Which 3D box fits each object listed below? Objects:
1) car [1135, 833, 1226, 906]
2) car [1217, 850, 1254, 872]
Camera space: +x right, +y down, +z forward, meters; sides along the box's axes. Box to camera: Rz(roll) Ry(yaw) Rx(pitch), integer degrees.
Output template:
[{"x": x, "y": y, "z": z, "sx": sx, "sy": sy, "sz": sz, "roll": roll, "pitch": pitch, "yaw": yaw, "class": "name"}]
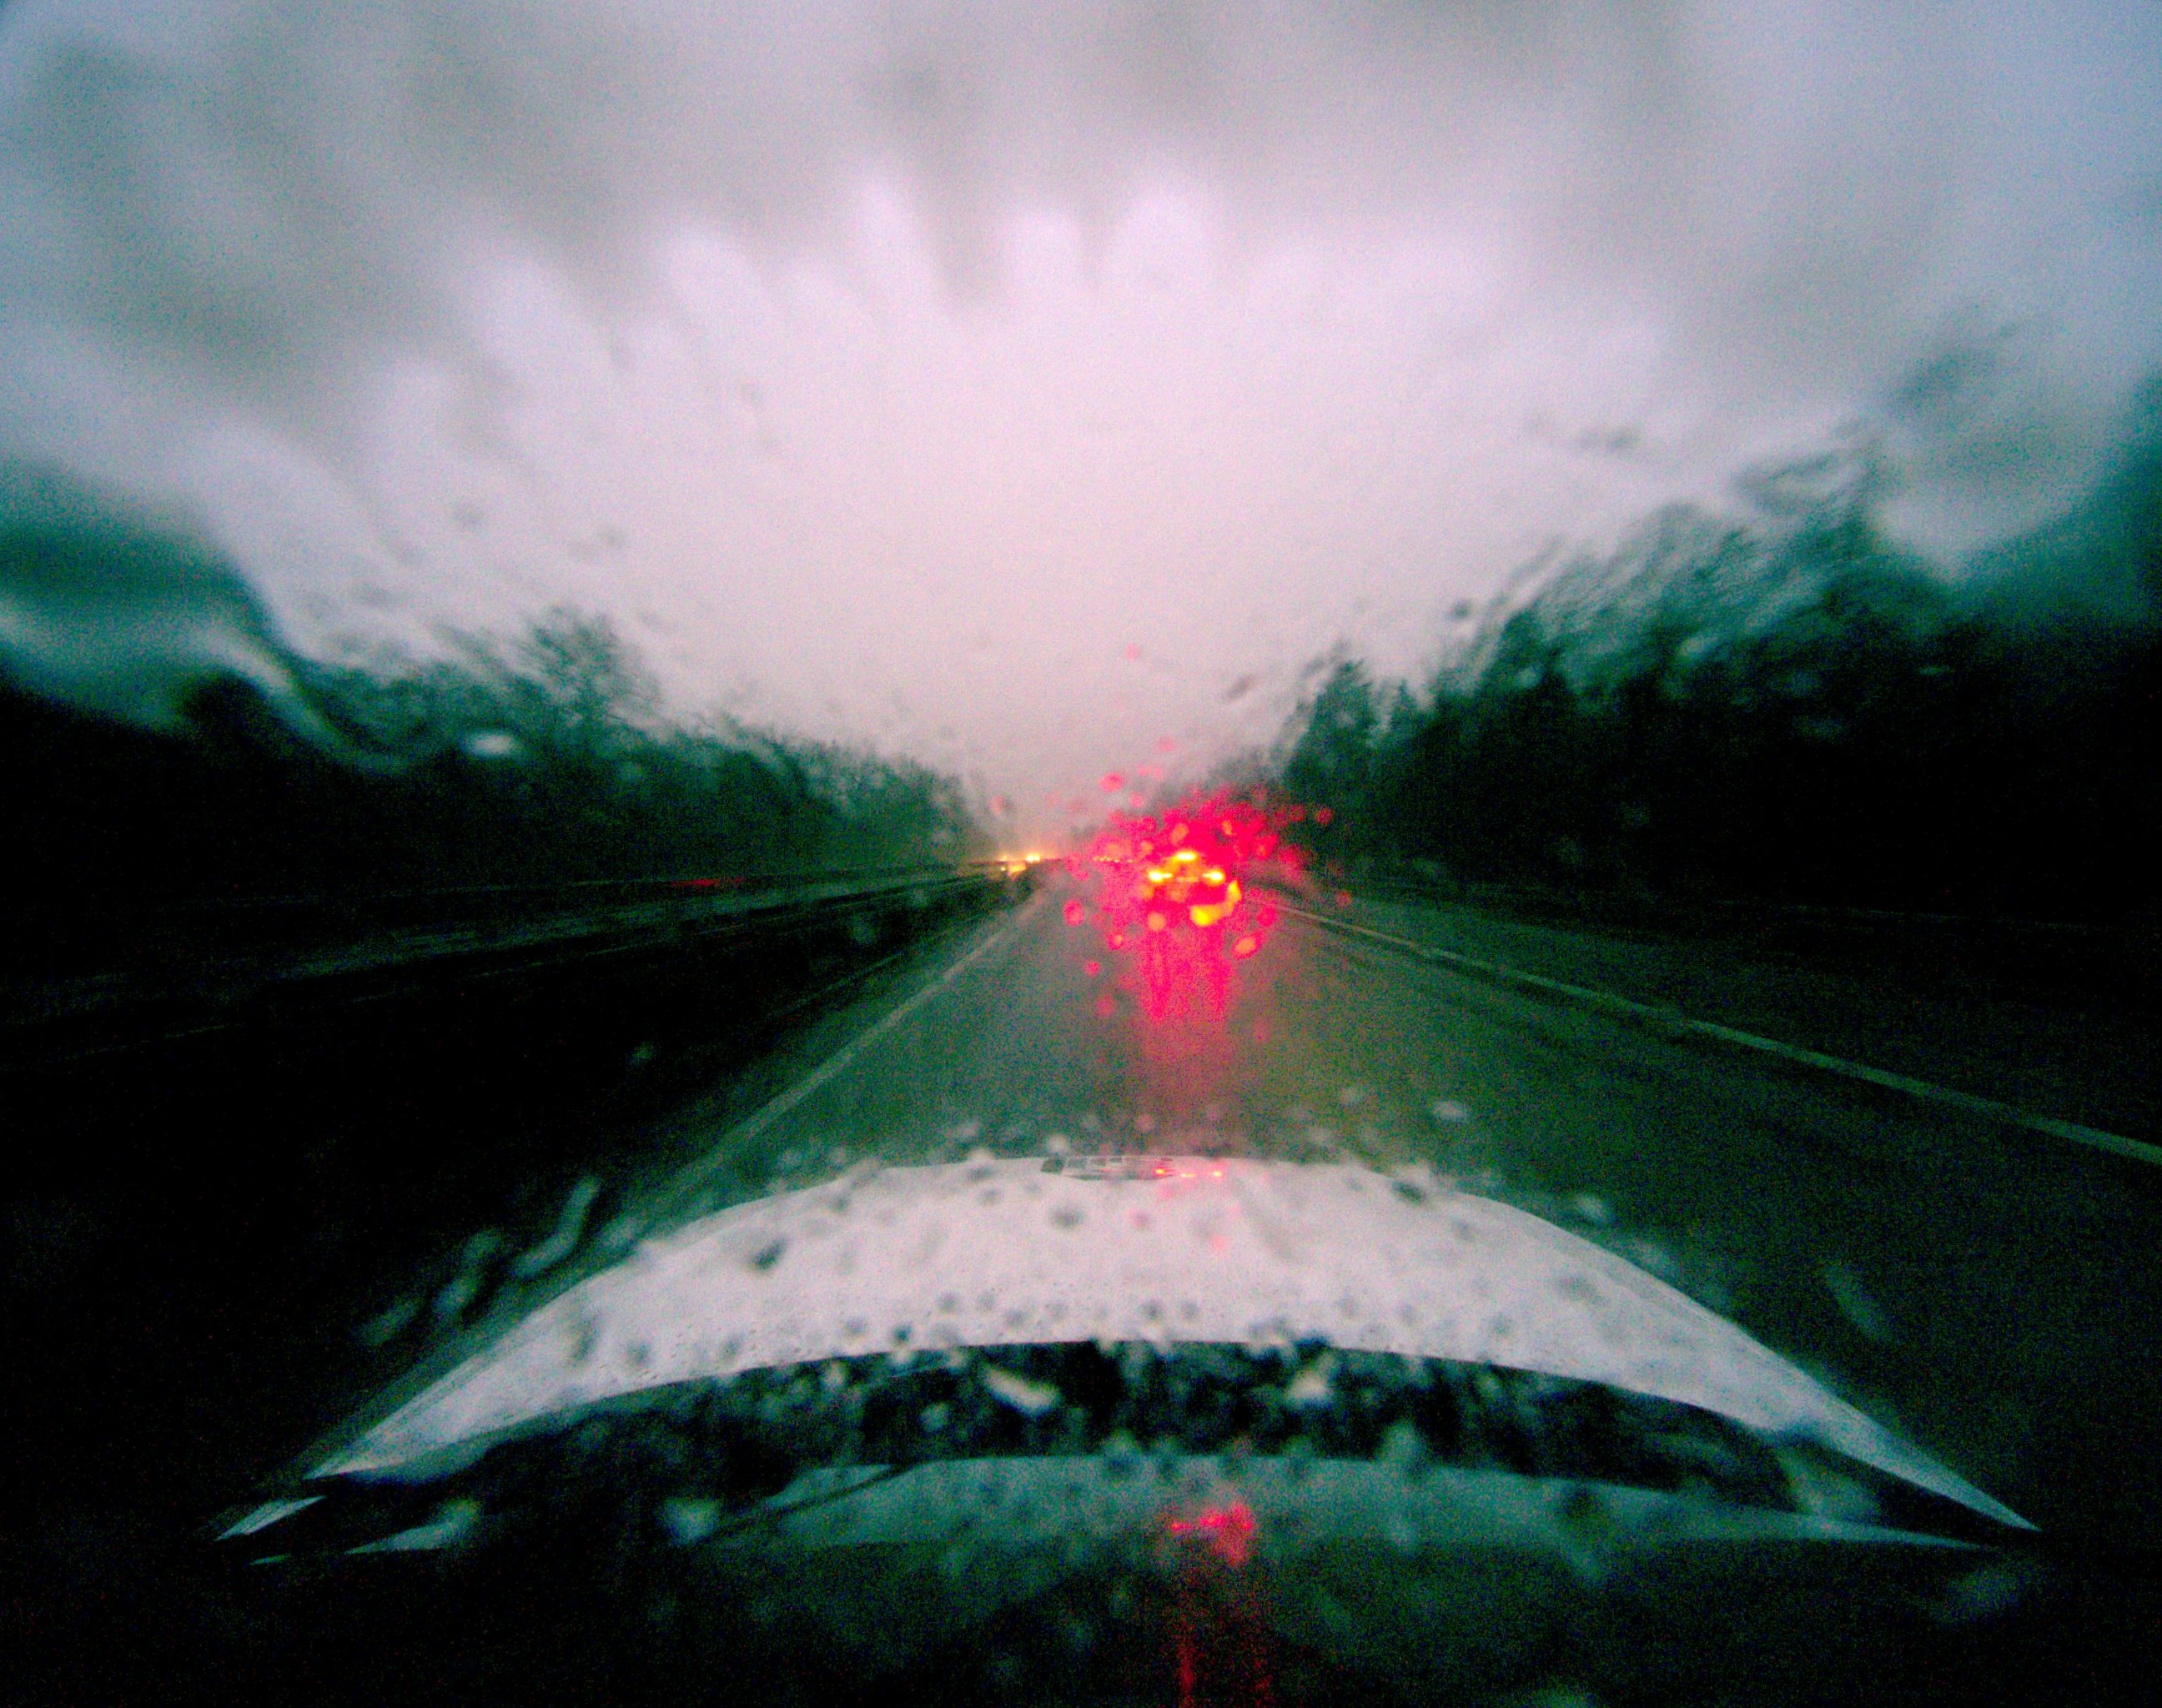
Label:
[{"x": 2.568, "y": 0.401, "z": 21.943, "sx": 1.918, "sy": 1.791, "sz": 3.939, "roll": 0, "pitch": -1, "yaw": -1, "class": "car"}, {"x": 10.548, "y": 0.477, "z": 55.881, "sx": 1.858, "sy": 1.419, "sz": 4.001, "roll": -1, "pitch": -1, "yaw": 1, "class": "car"}]
